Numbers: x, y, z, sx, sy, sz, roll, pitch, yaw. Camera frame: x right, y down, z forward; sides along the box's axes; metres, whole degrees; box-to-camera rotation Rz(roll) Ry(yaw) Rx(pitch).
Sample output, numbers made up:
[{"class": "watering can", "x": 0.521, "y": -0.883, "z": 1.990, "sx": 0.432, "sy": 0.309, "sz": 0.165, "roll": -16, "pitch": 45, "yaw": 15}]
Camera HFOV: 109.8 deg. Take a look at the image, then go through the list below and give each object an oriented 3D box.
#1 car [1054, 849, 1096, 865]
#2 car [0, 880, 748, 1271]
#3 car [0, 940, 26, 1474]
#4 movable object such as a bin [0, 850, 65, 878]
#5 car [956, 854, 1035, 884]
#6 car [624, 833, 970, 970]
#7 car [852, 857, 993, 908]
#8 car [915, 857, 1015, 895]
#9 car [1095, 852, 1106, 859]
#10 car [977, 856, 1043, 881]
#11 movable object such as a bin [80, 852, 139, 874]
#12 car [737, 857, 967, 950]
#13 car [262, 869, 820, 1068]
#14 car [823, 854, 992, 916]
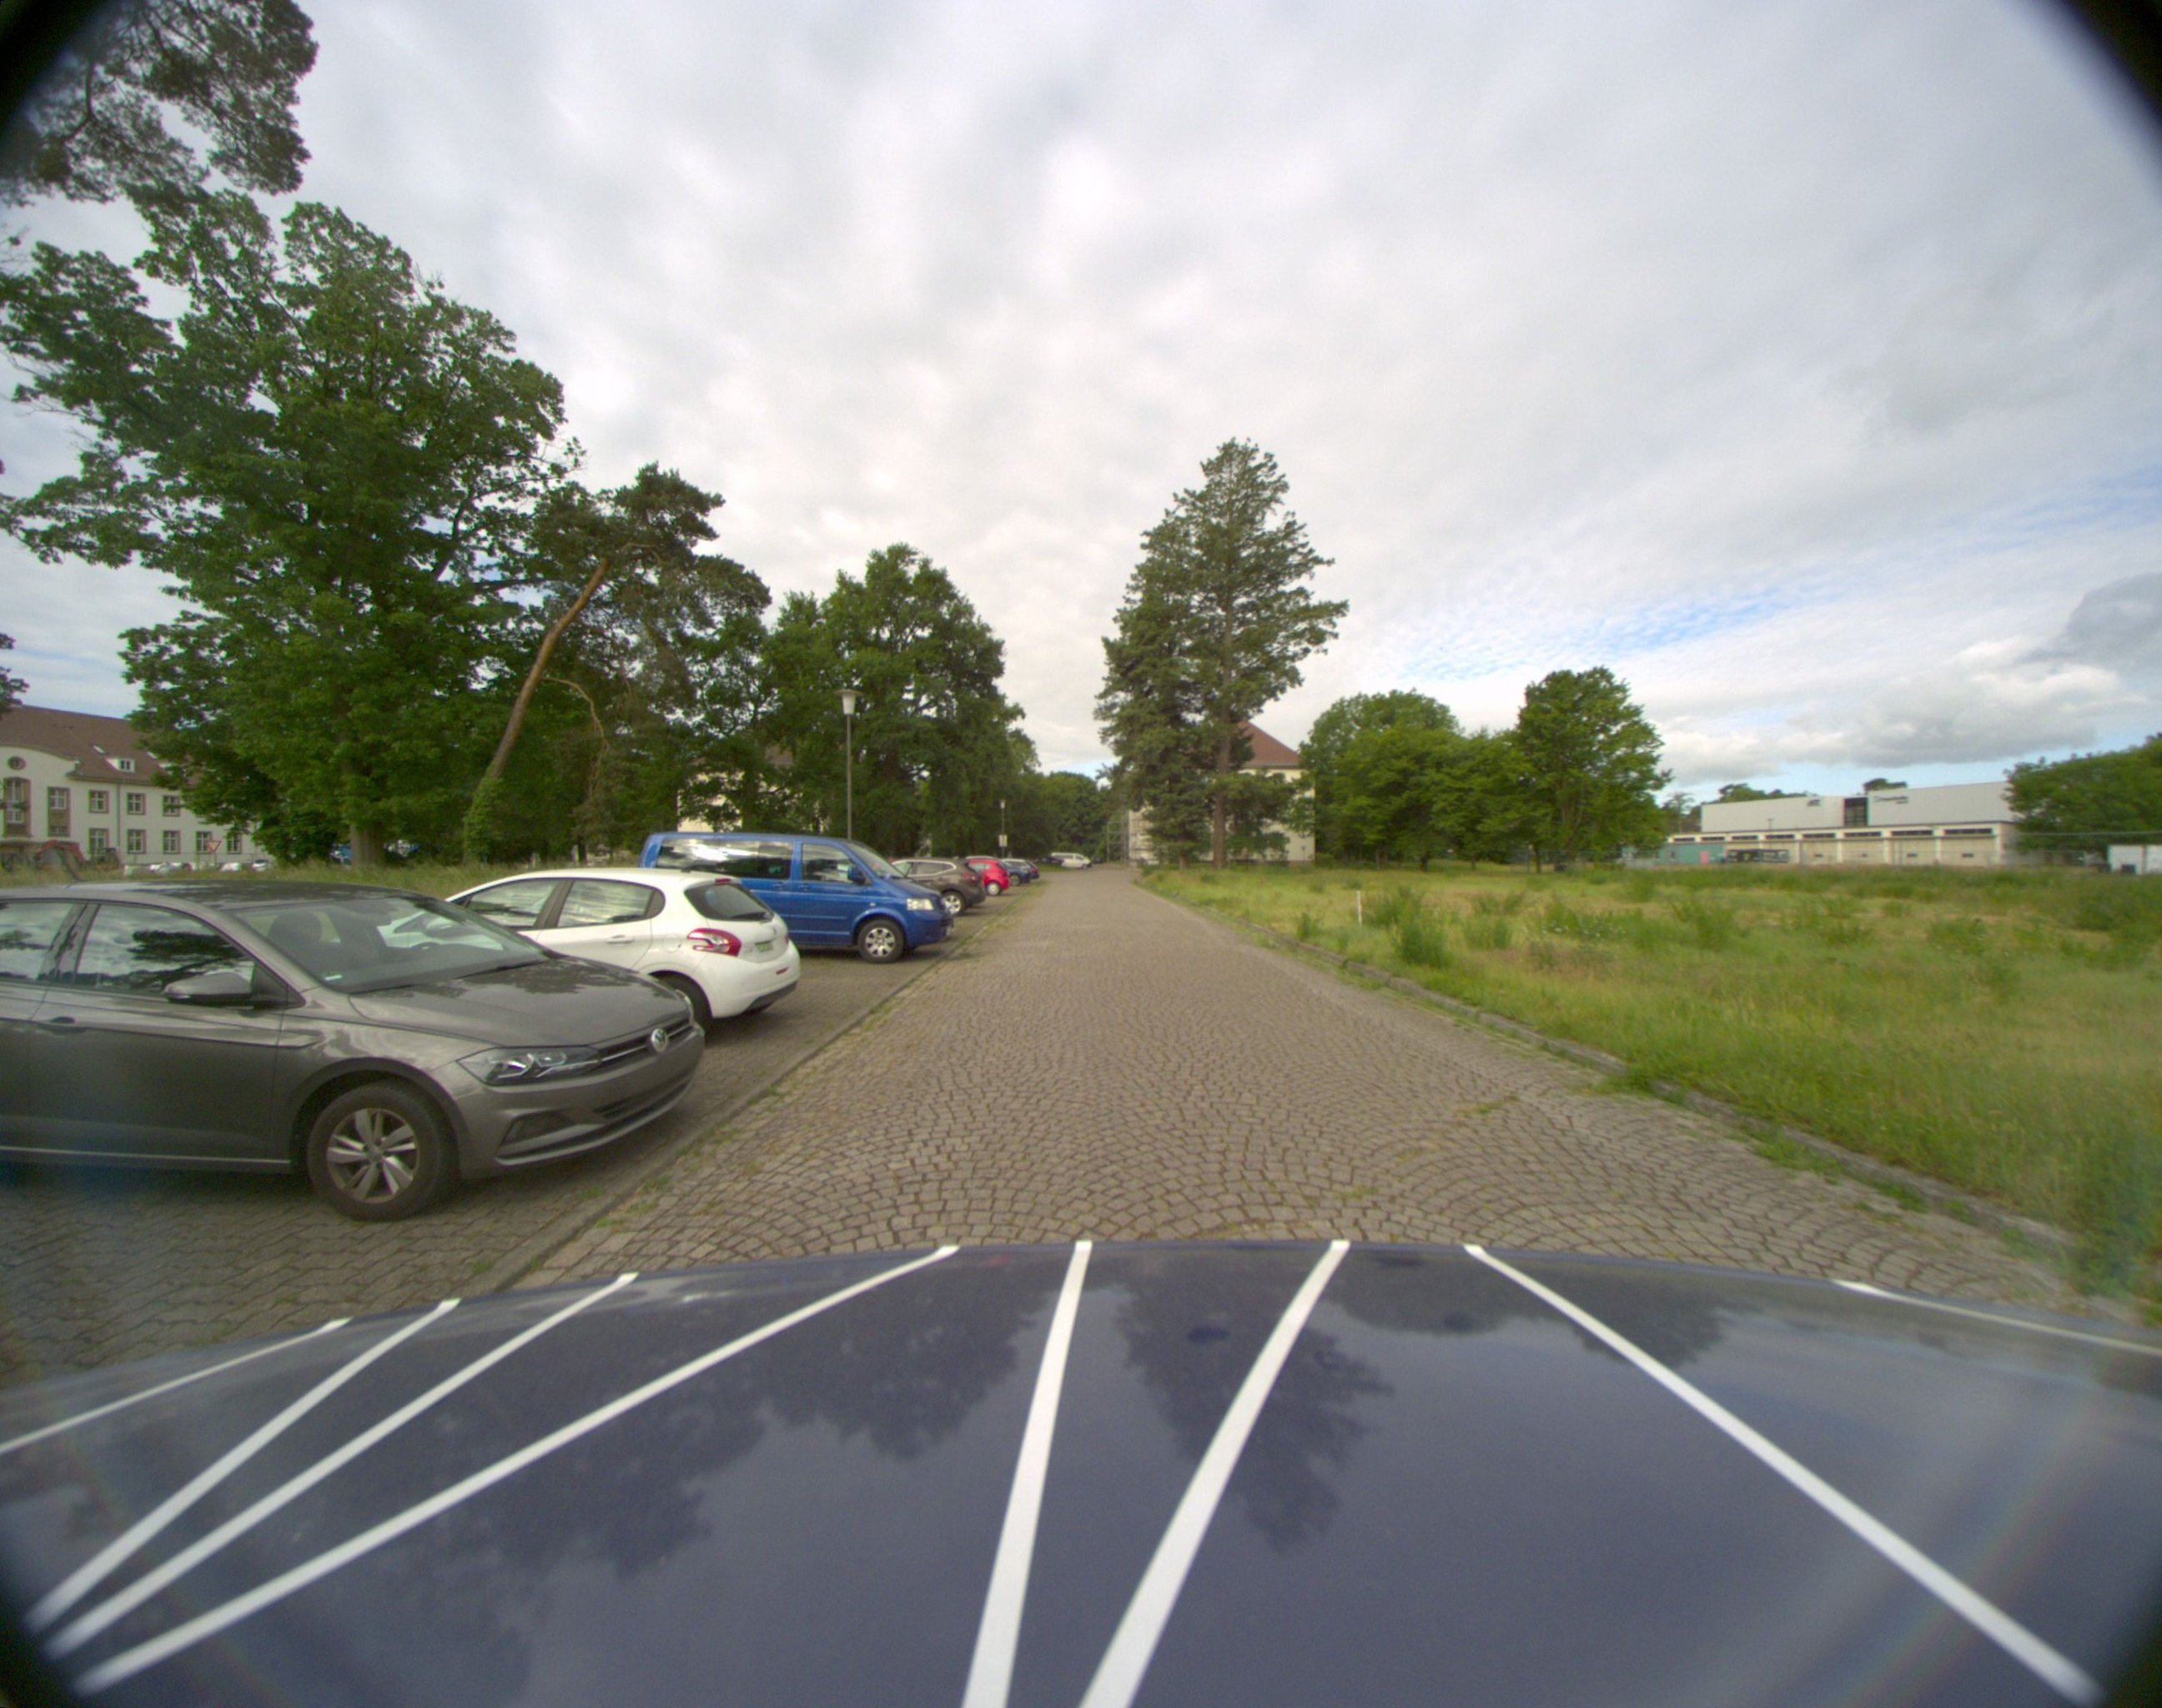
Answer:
[{"class": "car", "x": -0.744, "y": 0.406, "z": 95.142, "sx": 5.141, "sy": 1.860, "sz": 1.723, "roll": 1, "pitch": 0, "yaw": -2}, {"class": "car", "x": -4.095, "y": 0.949, "z": 4.010, "sx": 3.872, "sy": 1.463, "sz": 1.758, "roll": 1, "pitch": 0, "yaw": 0}, {"class": "car", "x": -4.872, "y": 0.927, "z": 1.194, "sx": 3.872, "sy": 1.463, "sz": 1.758, "roll": 1, "pitch": 0, "yaw": -1}, {"class": "movable object such as a bin", "x": -77.638, "y": 0.730, "z": 55.743, "sx": 1.679, "sy": 2.002, "sz": 3.245, "roll": 0, "pitch": 0, "yaw": 8}, {"class": "car", "x": -4.623, "y": 0.798, "z": 41.664, "sx": 4.150, "sy": 1.529, "sz": 1.582, "roll": 1, "pitch": 0, "yaw": -2}, {"class": "car", "x": -4.355, "y": 0.707, "z": 12.311, "sx": 4.820, "sy": 1.934, "sz": 2.003, "roll": 1, "pitch": 0, "yaw": -2}, {"class": "car", "x": -4.900, "y": 0.863, "z": 23.872, "sx": 4.016, "sy": 1.477, "sz": 1.765, "roll": 1, "pitch": 0, "yaw": 0}, {"class": "car", "x": -4.747, "y": 0.908, "z": 31.422, "sx": 3.895, "sy": 1.451, "sz": 1.582, "roll": 1, "pitch": 0, "yaw": -2}, {"class": "car", "x": 4.201, "y": 0.288, "z": 162.123, "sx": 1.870, "sy": 1.408, "sz": 4.694, "roll": 1, "pitch": 0, "yaw": -4}, {"class": "car", "x": -4.287, "y": 0.860, "z": 46.326, "sx": 3.878, "sy": 1.417, "sz": 1.582, "roll": 1, "pitch": 0, "yaw": -2}, {"class": "movable object such as a bin", "x": -90.310, "y": 0.839, "z": 70.688, "sx": 1.553, "sy": 2.002, "sz": 2.985, "roll": 0, "pitch": 0, "yaw": 0}, {"class": "car", "x": -4.334, "y": 0.919, "z": 14.876, "sx": 3.873, "sy": 1.463, "sz": 1.841, "roll": 3, "pitch": 0, "yaw": -2}, {"class": "car", "x": -4.666, "y": 0.941, "z": 7.003, "sx": 3.872, "sy": 1.463, "sz": 1.758, "roll": 1, "pitch": 0, "yaw": 1}, {"class": "car", "x": -4.722, "y": 0.830, "z": 21.145, "sx": 4.271, "sy": 1.589, "sz": 1.821, "roll": 1, "pitch": 0, "yaw": -2}]
